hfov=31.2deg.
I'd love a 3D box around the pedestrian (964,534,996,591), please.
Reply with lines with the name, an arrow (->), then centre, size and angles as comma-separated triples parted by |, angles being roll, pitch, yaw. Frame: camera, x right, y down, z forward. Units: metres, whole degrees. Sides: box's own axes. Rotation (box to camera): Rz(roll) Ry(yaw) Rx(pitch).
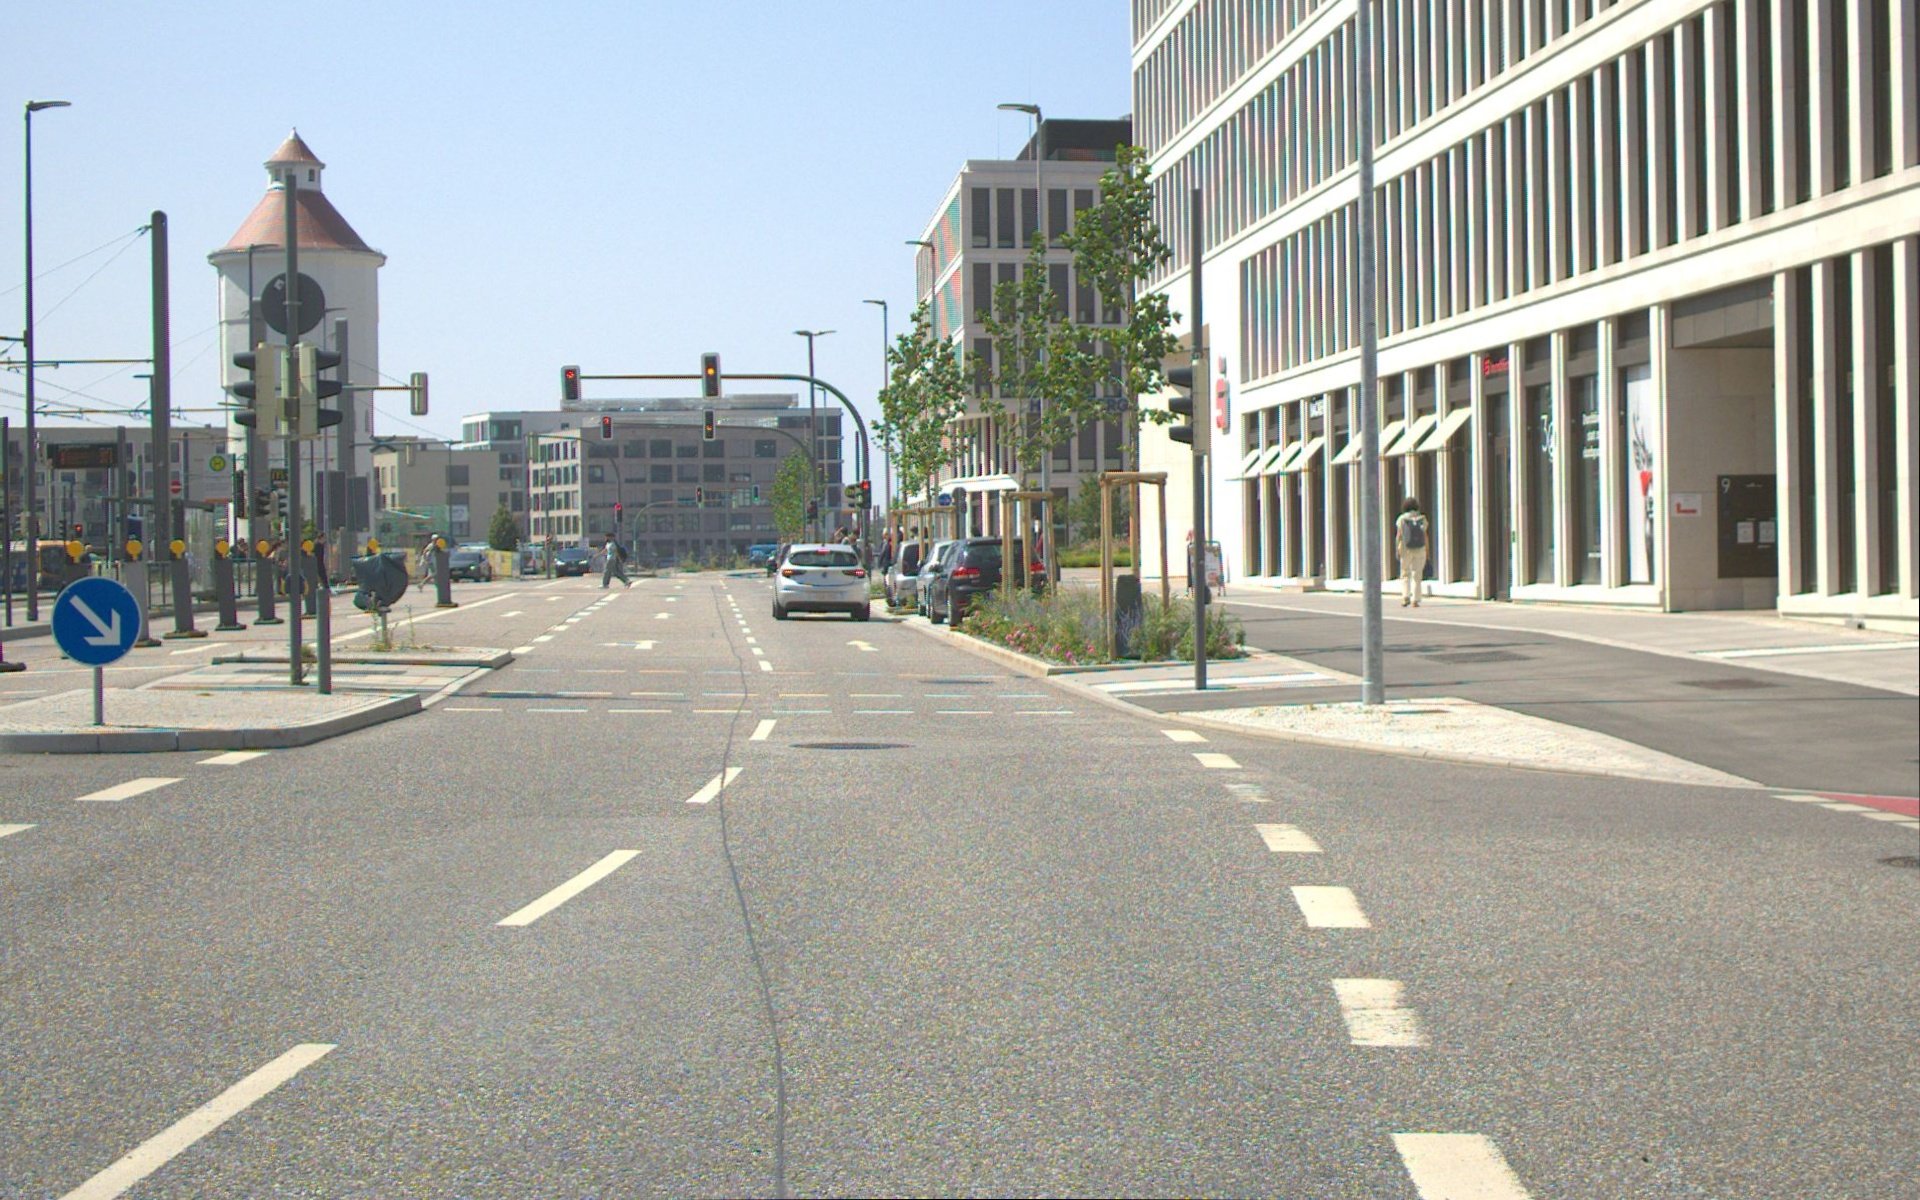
pedestrian -> 0.570, -1.089, 98.780 | 0.766, 1.614, 0.691 | -1, 1, 13

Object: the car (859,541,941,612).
car -> -1.317, -0.516, 74.018 | 1.555, 1.467, 3.470 | -1, 1, -4

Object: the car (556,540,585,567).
car -> -22.544, -2.675, 198.902 | 1.586, 1.525, 3.693 | 0, 0, -5

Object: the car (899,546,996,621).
car -> -0.268, -0.338, 66.088 | 1.605, 1.383, 3.815 | 0, 1, -4

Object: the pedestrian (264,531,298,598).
pedestrian -> -19.125, -1.003, 96.875 | 0.887, 1.884, 0.692 | -1, 1, -9

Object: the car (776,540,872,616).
car -> -2.597, -0.393, 65.753 | 1.771, 1.390, 3.532 | 1, 0, -2

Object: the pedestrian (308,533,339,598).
pedestrian -> -18.509, -1.007, 99.960 | 0.766, 1.884, 0.692 | -1, 1, -3

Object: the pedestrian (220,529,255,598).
pedestrian -> -20.113, -1.017, 95.686 | 0.887, 1.884, 0.692 | -1, 1, -9

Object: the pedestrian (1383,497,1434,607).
pedestrian -> 7.138, -0.770, 54.718 | 0.627, 1.736, 0.814 | -1, 1, -4

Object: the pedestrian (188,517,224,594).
pedestrian -> -17.990, -1.062, 82.040 | 0.662, 1.814, 0.723 | 0, 1, -27

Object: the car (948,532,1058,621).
car -> 0.707, -0.401, 58.808 | 1.736, 1.469, 3.980 | 0, 0, -1

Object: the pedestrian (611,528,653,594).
pedestrian -> -10.100, -1.205, 105.889 | 1.020, 2.007, 0.954 | -1, 1, -22

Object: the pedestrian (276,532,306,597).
pedestrian -> -19.774, -1.052, 101.621 | 0.734, 1.884, 0.713 | 1, 1, 1

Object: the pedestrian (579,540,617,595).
pedestrian -> -11.104, -1.008, 105.383 | 0.893, 1.668, 1.013 | -1, 1, -22

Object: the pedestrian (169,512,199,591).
pedestrian -> -17.919, -1.111, 79.372 | 0.549, 1.814, 0.600 | 0, 1, -25

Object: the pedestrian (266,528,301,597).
pedestrian -> -18.783, -1.037, 95.467 | 0.887, 1.884, 0.692 | -1, 1, -9

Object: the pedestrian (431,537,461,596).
pedestrian -> -15.303, -1.006, 102.364 | 0.766, 1.728, 0.692 | -1, 1, -3
